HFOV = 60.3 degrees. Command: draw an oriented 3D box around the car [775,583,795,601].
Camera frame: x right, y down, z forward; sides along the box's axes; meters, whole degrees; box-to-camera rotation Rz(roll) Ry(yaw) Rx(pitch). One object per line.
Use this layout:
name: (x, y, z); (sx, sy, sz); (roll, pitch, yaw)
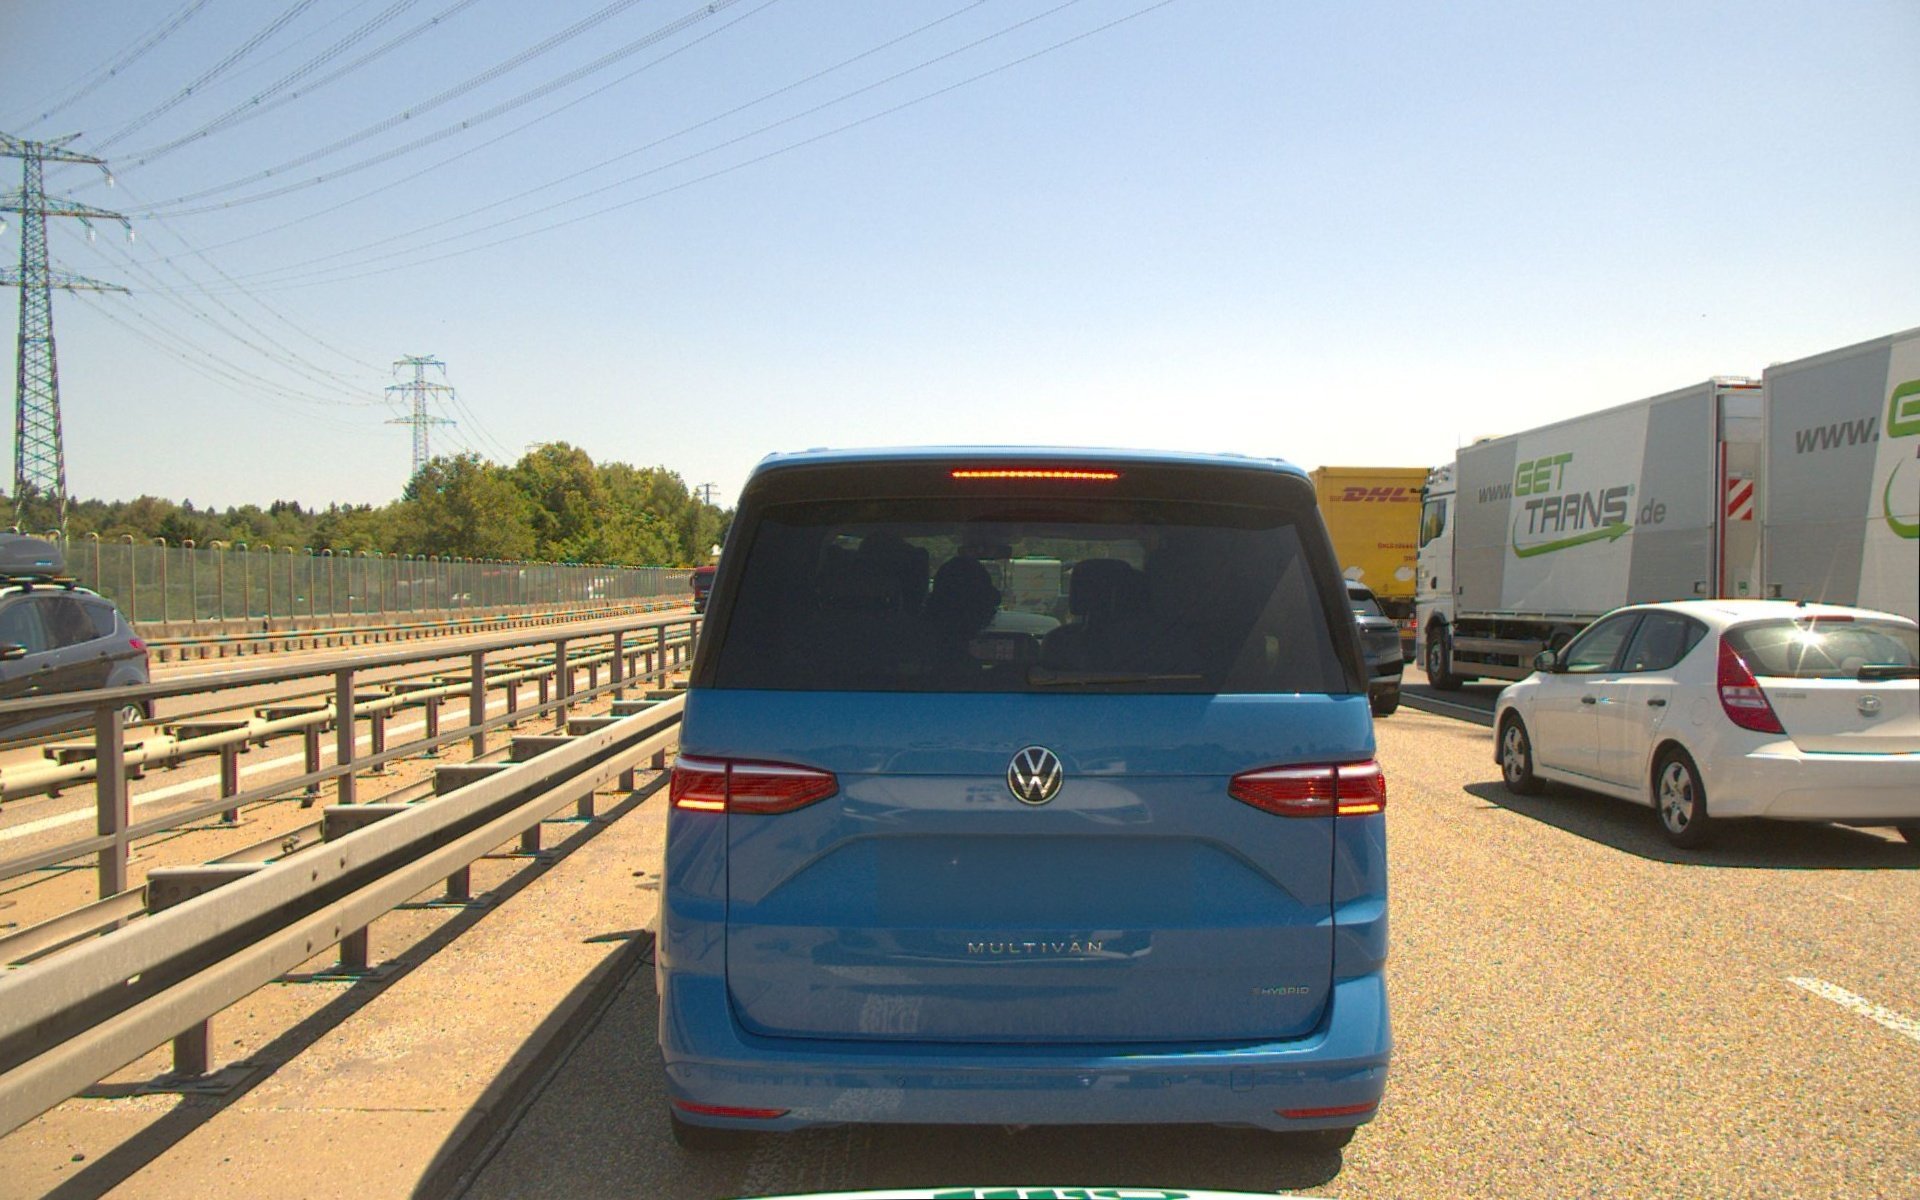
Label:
car: (-22.059, -1.064, 208.726); (2.040, 2.187, 4.311); (-2, 1, -1)

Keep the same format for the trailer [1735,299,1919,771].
trailer: (8.997, -0.514, 12.224); (2.643, 3.765, 8.013); (0, 0, -1)

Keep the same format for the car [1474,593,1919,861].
car: (5.123, 0.701, 11.424); (1.752, 1.481, 4.292); (0, 0, -1)

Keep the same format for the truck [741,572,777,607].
truck: (-19.553, -0.982, 161.398); (2.468, 3.164, 8.720); (-4, 0, -2)

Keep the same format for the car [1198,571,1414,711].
car: (4.469, 0.473, 22.003); (1.922, 1.673, 4.292); (0, 0, -1)

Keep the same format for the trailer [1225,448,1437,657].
trailer: (8.462, -0.989, 39.019); (2.806, 4.313, 9.010); (1, 0, -1)

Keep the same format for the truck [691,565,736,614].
truck: (-18.168, -0.750, 122.123); (2.447, 3.424, 5.833); (-2, 0, -1)

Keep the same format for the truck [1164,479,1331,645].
truck: (8.250, -1.016, 49.022); (2.778, 4.317, 11.008); (1, 0, -1)

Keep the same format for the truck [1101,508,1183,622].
truck: (7.638, -1.420, 70.242); (2.613, 4.562, 6.848); (1, 0, -1)

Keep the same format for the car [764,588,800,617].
car: (-9.785, 0.128, 91.031); (1.586, 1.489, 3.701); (-2, 0, -1)

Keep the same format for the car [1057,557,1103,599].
car: (6.078, -1.087, 84.068); (1.953, 2.049, 3.999); (1, 0, -1)

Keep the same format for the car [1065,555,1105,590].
car: (7.398, -1.609, 98.160); (1.953, 2.049, 4.460); (-1, 0, -1)

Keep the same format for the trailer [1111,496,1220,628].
trailer: (7.697, -1.377, 63.439); (2.583, 4.595, 11.299); (1, 0, -1)

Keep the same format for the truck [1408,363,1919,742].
truck: (8.789, -0.512, 21.734); (2.603, 3.711, 11.008); (0, 0, -1)

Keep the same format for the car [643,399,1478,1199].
car: (0.197, 0.519, 5.612); (1.783, 1.890, 4.074); (1, 0, -1)

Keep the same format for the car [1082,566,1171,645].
car: (4.453, 0.116, 44.728); (1.922, 2.028, 4.292); (0, 0, -1)

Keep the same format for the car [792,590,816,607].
car: (-14.749, -0.168, 156.601); (1.826, 1.469, 4.130); (-3, 0, -1)

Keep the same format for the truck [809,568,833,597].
truck: (-17.064, -2.115, 203.304); (2.510, 3.418, 8.860); (-2, 0, -2)

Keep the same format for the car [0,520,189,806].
car: (-8.211, 0.506, 13.414); (1.825, 2.168, 4.268); (-3, 0, 0)
